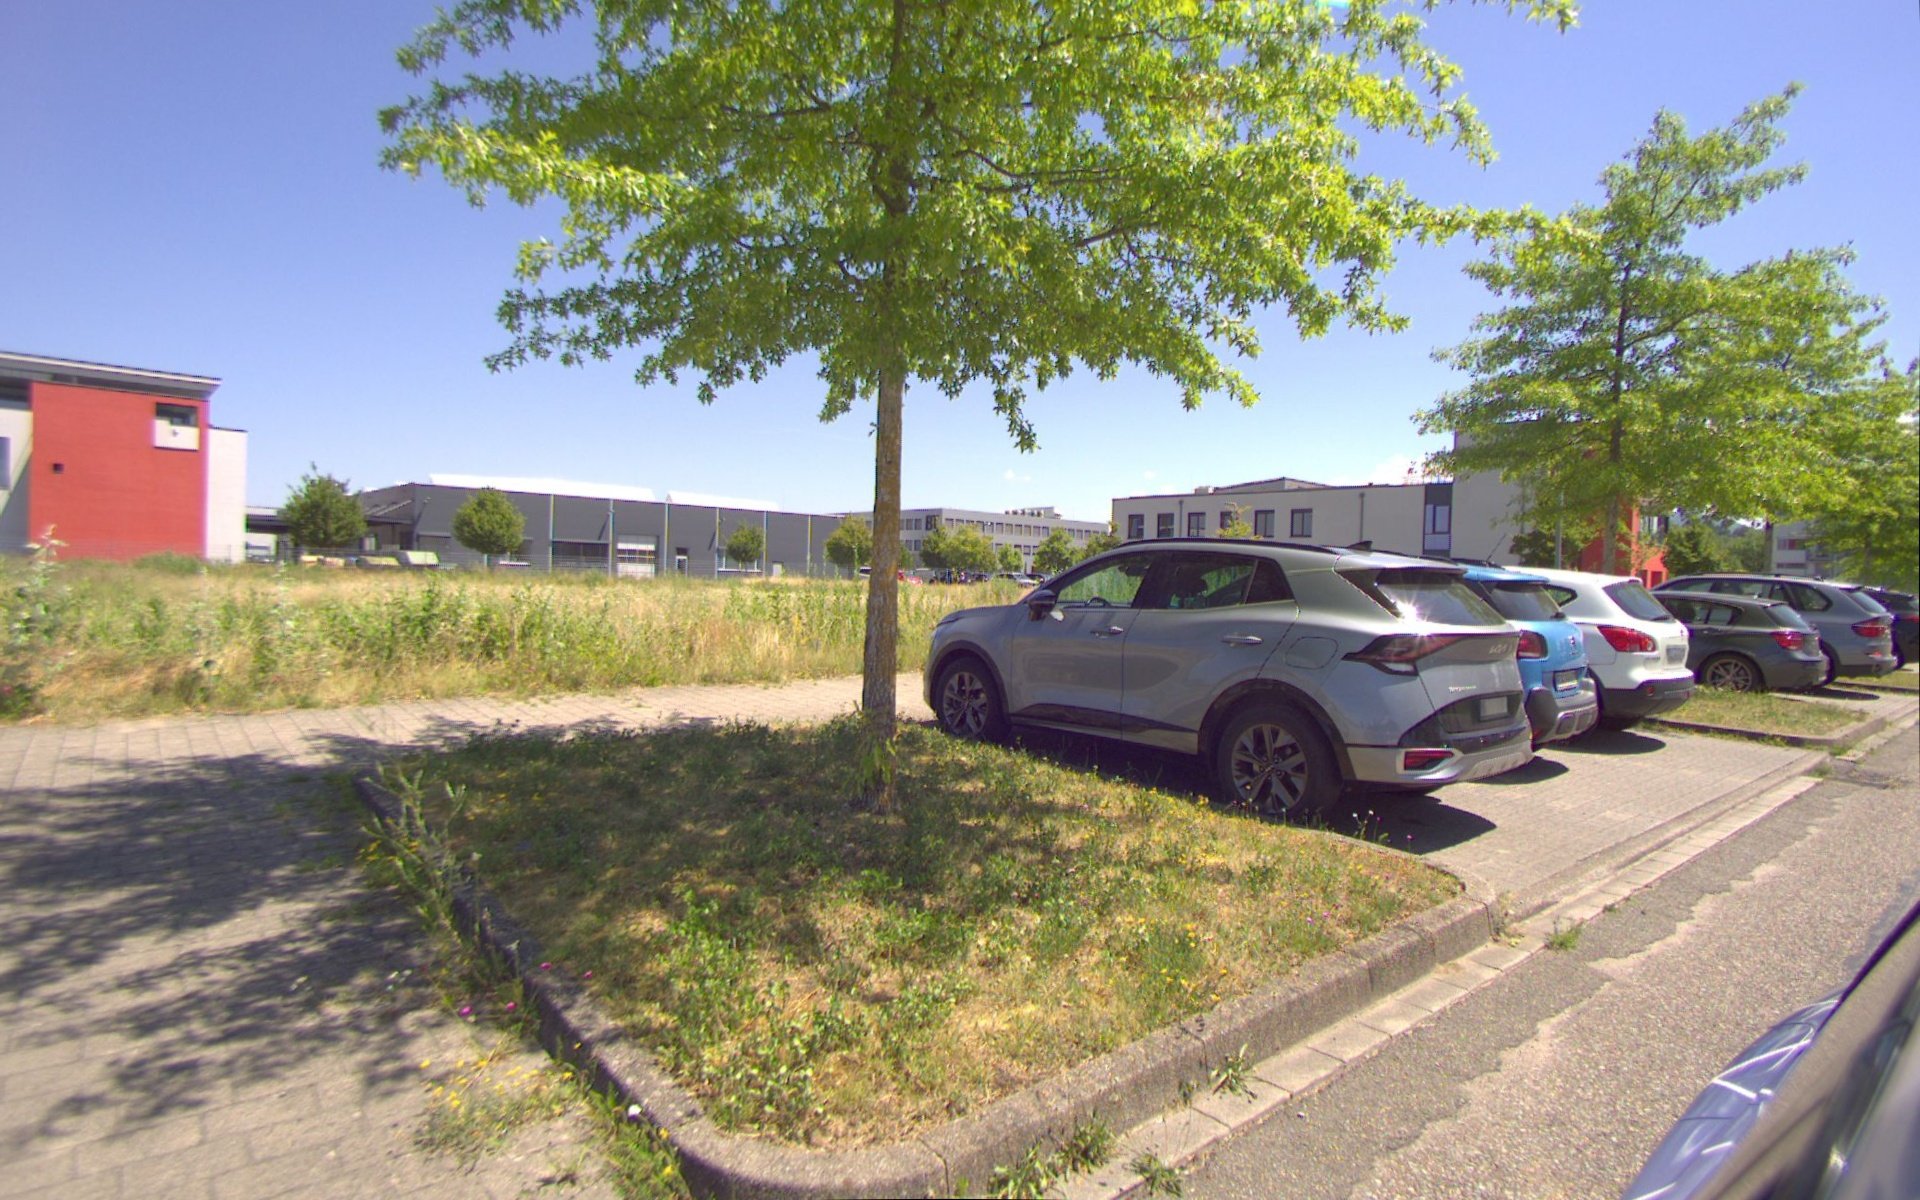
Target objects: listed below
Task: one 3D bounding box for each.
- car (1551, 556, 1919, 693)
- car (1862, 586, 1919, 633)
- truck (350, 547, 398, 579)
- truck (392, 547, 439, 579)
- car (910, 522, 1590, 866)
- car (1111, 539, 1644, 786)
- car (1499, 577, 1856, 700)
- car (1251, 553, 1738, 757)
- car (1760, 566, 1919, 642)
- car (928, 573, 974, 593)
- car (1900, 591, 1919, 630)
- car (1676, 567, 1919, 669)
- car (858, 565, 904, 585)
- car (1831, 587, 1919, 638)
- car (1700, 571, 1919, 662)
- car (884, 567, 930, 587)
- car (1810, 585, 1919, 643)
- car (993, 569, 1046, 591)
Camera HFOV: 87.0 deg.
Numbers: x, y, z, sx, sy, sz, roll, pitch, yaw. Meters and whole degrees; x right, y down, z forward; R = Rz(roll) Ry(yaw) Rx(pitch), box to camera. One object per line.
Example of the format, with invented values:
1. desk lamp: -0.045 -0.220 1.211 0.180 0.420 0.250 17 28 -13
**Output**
1. car: 12.424 0.272 16.441 1.959 1.790 4.457 1 3 -42
2. car: 35.871 0.427 36.994 1.663 1.645 4.057 1 3 -40
3. truck: -38.900 -2.468 67.177 1.965 2.038 4.351 1 2 -41
4. truck: -37.306 -2.552 69.326 1.965 2.038 3.995 1 2 -41
5. car: 1.683 0.336 7.137 1.818 1.664 4.290 0 3 -40
6. car: 3.493 0.343 9.064 1.806 1.664 3.995 0 3 -41
7. car: 10.400 0.437 14.891 1.876 1.426 3.931 -1 4 -40
8. car: 5.366 0.380 10.605 1.868 1.627 4.078 -1 3 -40
9. car: 25.252 0.095 28.097 1.763 1.852 4.415 0 3 -39
10. car: -0.762 -1.436 85.939 1.689 1.528 3.996 1 2 -40
11. car: 41.163 0.542 41.274 1.745 1.572 3.848 2 2 -35
12. car: 17.052 0.298 20.194 1.751 1.717 4.182 0 3 -41
13. car: -6.348 -1.978 81.076 1.689 1.470 3.996 1 2 -40
14. car: 32.210 0.480 33.646 1.882 1.580 4.722 0 3 -44
15. car: 18.931 0.297 22.287 1.750 1.698 3.885 1 3 -40
16. car: -4.340 -1.881 82.638 1.689 1.528 3.996 1 2 -40
17. car: 27.437 0.427 29.618 1.646 1.521 3.641 0 3 -39
18. car: 4.477 -1.511 76.403 1.689 1.528 3.994 1 2 -41
